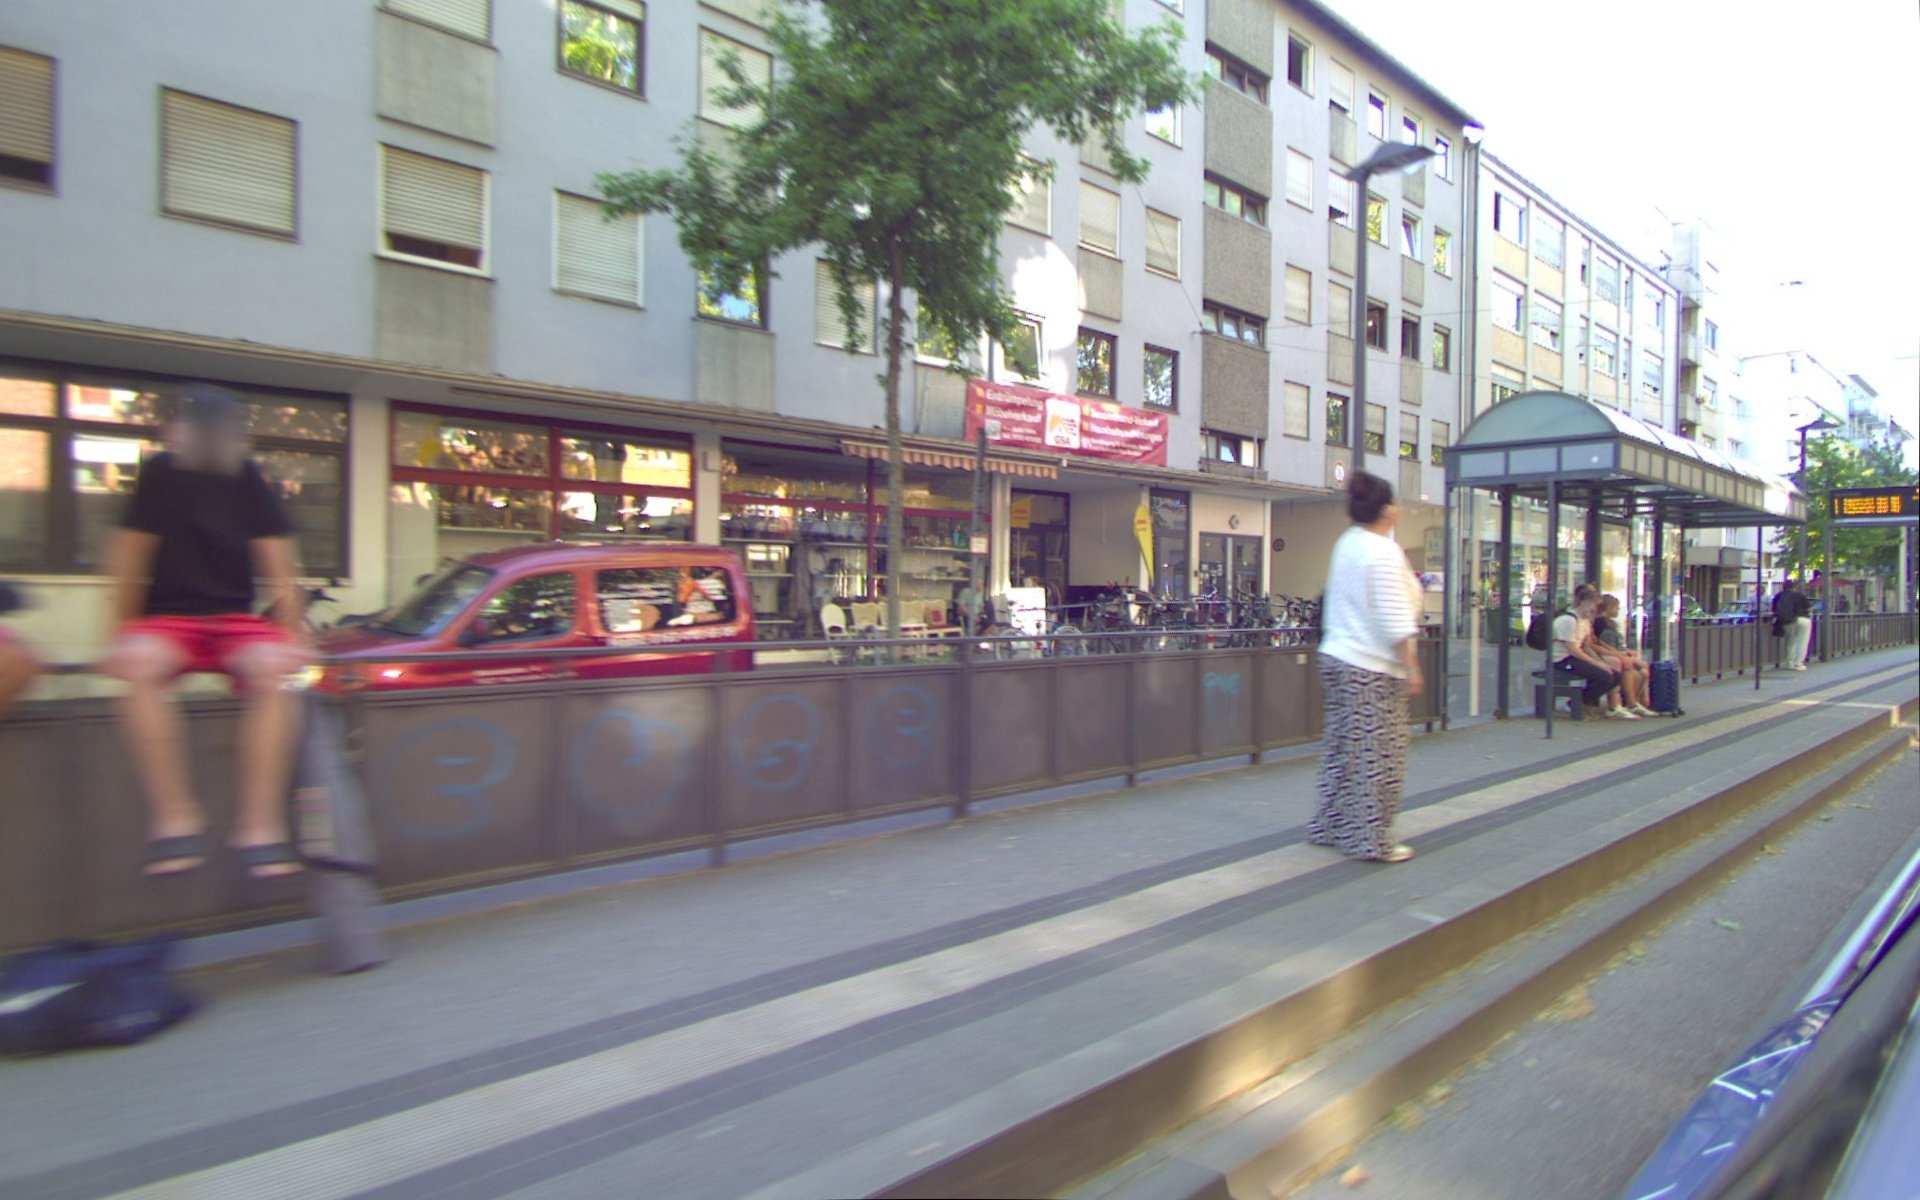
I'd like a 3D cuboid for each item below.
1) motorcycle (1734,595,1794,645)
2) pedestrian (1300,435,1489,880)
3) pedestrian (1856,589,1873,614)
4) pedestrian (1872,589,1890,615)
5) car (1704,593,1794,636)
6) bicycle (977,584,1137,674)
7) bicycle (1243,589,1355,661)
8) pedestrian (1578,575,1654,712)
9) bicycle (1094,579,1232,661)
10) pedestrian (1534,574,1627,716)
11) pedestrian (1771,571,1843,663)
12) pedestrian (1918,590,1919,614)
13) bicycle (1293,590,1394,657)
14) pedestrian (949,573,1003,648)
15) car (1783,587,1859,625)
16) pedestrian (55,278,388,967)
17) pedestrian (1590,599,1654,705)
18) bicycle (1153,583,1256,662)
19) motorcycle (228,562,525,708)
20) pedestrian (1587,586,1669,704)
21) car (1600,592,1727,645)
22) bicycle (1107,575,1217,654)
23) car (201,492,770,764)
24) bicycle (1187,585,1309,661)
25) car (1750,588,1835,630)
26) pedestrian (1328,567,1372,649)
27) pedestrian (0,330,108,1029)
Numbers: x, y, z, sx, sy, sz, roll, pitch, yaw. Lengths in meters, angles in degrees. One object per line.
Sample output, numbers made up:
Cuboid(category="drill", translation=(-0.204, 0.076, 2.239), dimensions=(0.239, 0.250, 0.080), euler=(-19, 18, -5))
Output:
Cuboid(category="motorcycle", translation=(24.640, 0.581, 30.999), dimensions=(2.170, 1.473, 1.054), euler=(0, 0, -41))
Cuboid(category="pedestrian", translation=(1.858, 0.221, 4.434), dimensions=(0.631, 1.734, 0.832), euler=(0, 0, 15))
Cuboid(category="pedestrian", translation=(61.460, 0.094, 68.741), dimensions=(0.954, 1.675, 0.751), euler=(0, 0, -42))
Cuboid(category="pedestrian", translation=(59.332, 0.124, 65.171), dimensions=(0.954, 1.675, 0.751), euler=(0, 0, -42))
Cuboid(category="car", translation=(29.296, 0.504, 37.562), dimensions=(3.930, 1.505, 1.897), euler=(0, 0, -41))
Cuboid(category="bicycle", translation=(1.508, 0.385, 15.150), dimensions=(0.772, 1.194, 2.738), euler=(6, 5, 45))
Cuboid(category="bicycle", translation=(6.409, 0.462, 19.014), dimensions=(0.772, 1.194, 2.737), euler=(8, 5, 45))
Cuboid(category="pedestrian", translation=(6.605, 0.420, 10.192), dimensions=(0.583, 1.322, 0.519), euler=(-1, -1, 39))
Cuboid(category="bicycle", translation=(3.428, 0.325, 16.861), dimensions=(0.772, 1.194, 2.737), euler=(8, 5, 45))
Cuboid(category="pedestrian", translation=(6.119, 0.425, 9.984), dimensions=(0.718, 1.343, 0.486), euler=(0, 0, 39))
Cuboid(category="pedestrian", translation=(14.957, 0.288, 17.882), dimensions=(0.836, 1.596, 0.650), euler=(0, 0, -23))
Cuboid(category="pedestrian", translation=(67.186, 0.143, 70.396), dimensions=(0.954, 1.675, 0.751), euler=(0, 0, -42))
Cuboid(category="bicycle", translation=(7.812, 0.468, 20.540), dimensions=(0.772, 1.194, 2.737), euler=(8, 5, 45))
Cuboid(category="pedestrian", translation=(0.270, 0.172, 16.983), dimensions=(0.677, 1.220, 0.640), euler=(0, 0, 39))
Cuboid(category="car", translation=(38.693, 0.235, 45.453), dimensions=(3.930, 1.612, 1.997), euler=(0, 0, -41))
Cuboid(category="pedestrian", translation=(-2.248, 0.052, 3.071), dimensions=(0.844, 1.722, 0.682), euler=(0, 0, 44))
Cuboid(category="pedestrian", translation=(6.919, 0.529, 10.573), dimensions=(0.519, 1.069, 0.420), euler=(0, 0, 39))
Cuboid(category="bicycle", translation=(4.310, 0.351, 17.659), dimensions=(0.768, 1.194, 2.750), euler=(7, 4, 33))
Cuboid(category="motorcycle", translation=(-6.245, 0.350, 10.962), dimensions=(2.605, 1.332, 0.954), euler=(2, 5, -43))
Cuboid(category="pedestrian", translation=(7.222, 0.465, 10.933), dimensions=(0.677, 1.220, 0.640), euler=(0, 0, 39))
Cuboid(category="car", translation=(21.480, 0.511, 30.830), dimensions=(4.576, 1.502, 1.958), euler=(0, 0, -39))
Cuboid(category="bicycle", translation=(3.582, 0.221, 17.674), dimensions=(0.769, 1.194, 2.748), euler=(7, 4, 34))
Cuboid(category="car", translation=(-3.836, 0.168, 8.623), dimensions=(4.102, 1.777, 1.691), euler=(0, 0, -42))
Cuboid(category="bicycle", translation=(5.180, 0.404, 18.078), dimensions=(0.772, 1.194, 2.737), euler=(8, 5, 45))
Cuboid(category="car", translation=(33.610, 0.328, 40.841), dimensions=(3.930, 1.601, 1.997), euler=(0, 0, -41))
Cuboid(category="pedestrian", translation=(8.841, 0.165, 22.941), dimensions=(0.768, 1.827, 0.672), euler=(-1, 0, 34))
Cuboid(category="pedestrian", translation=(-2.798, 0.203, 2.705), dimensions=(0.689, 1.792, 0.495), euler=(0, 0, -26))
